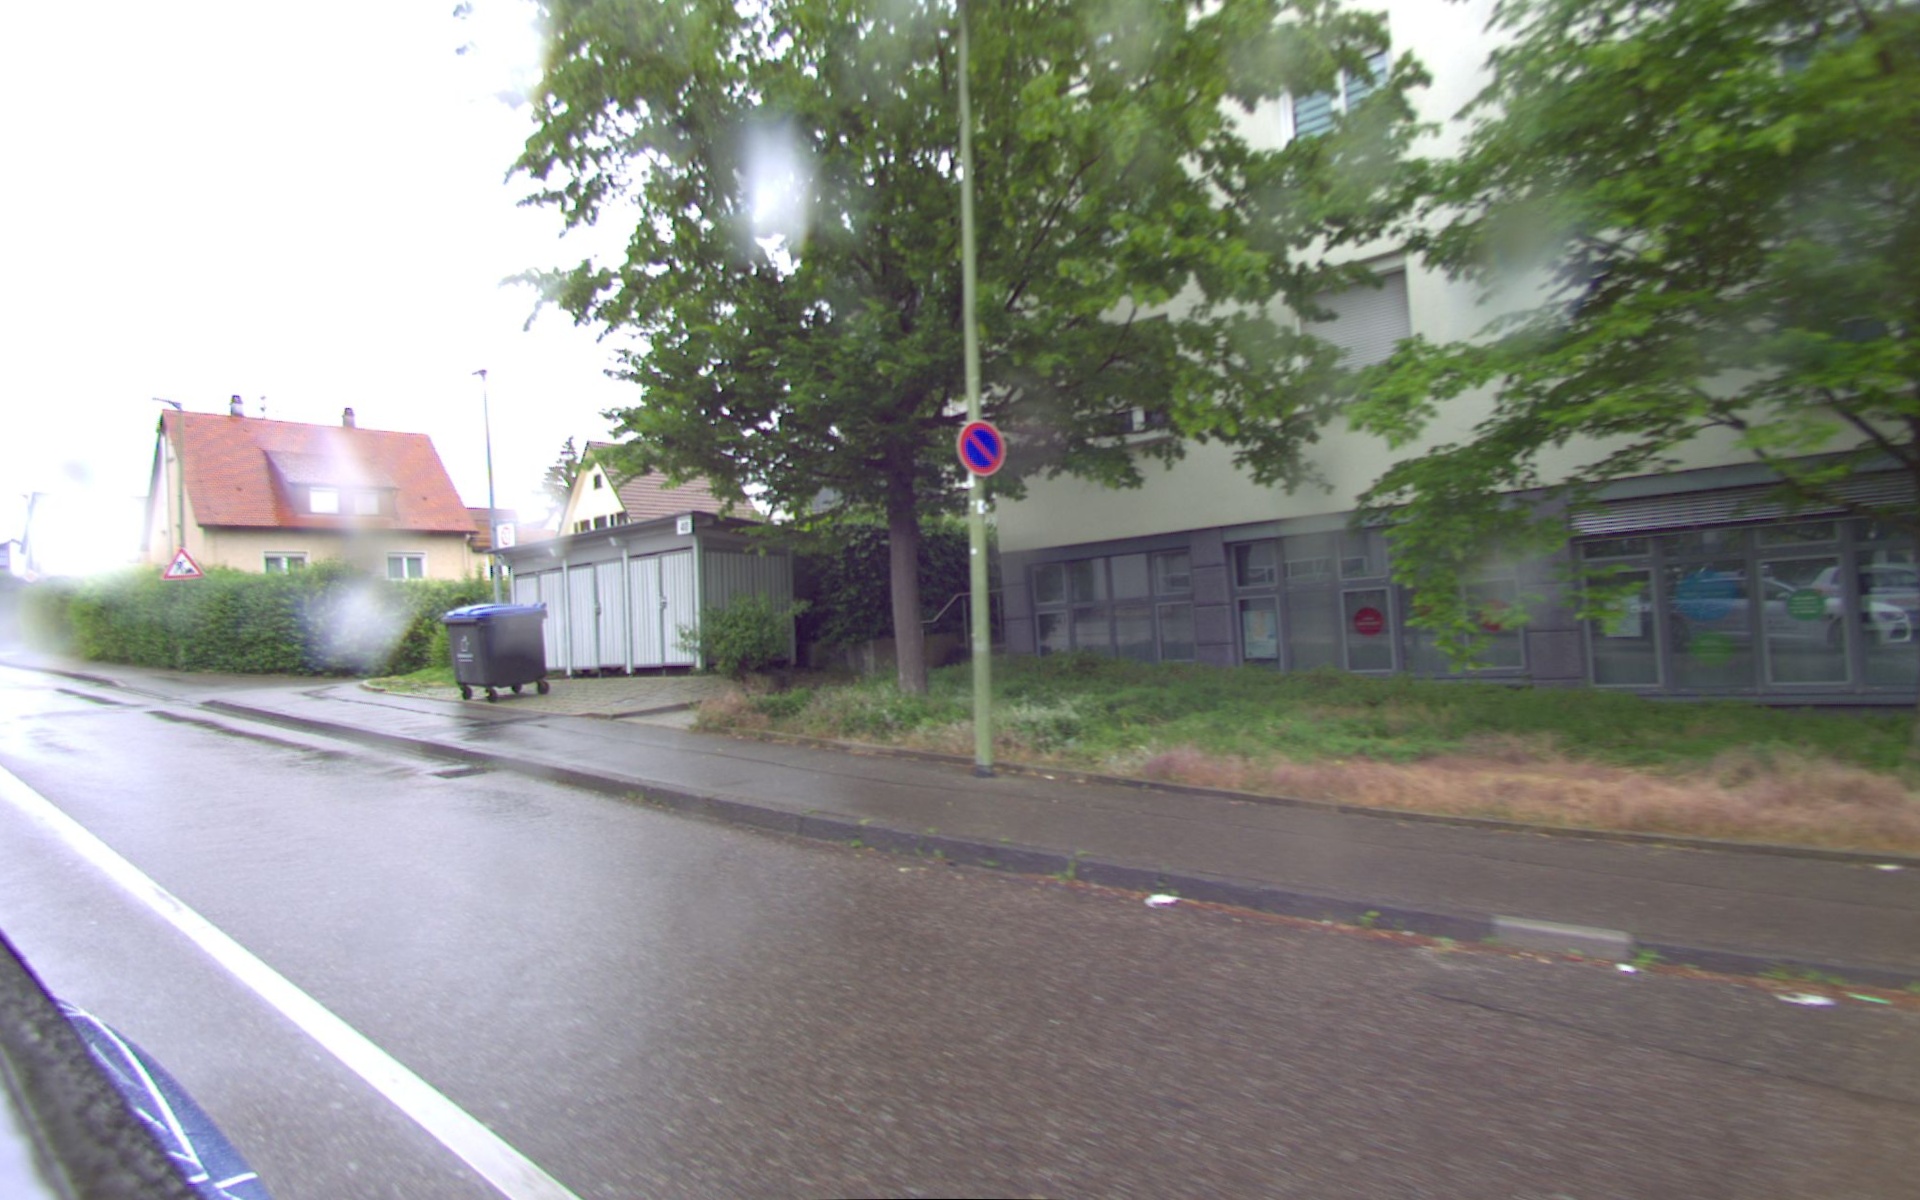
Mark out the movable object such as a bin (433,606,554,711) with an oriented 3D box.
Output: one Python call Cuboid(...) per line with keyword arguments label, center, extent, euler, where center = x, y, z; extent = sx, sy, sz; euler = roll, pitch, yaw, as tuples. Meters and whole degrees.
Cuboid(label="movable object such as a bin", center=(-6.562, 0.803, 14.241), extent=(1.201, 1.306, 1.043), euler=(-3, 3, 41))
